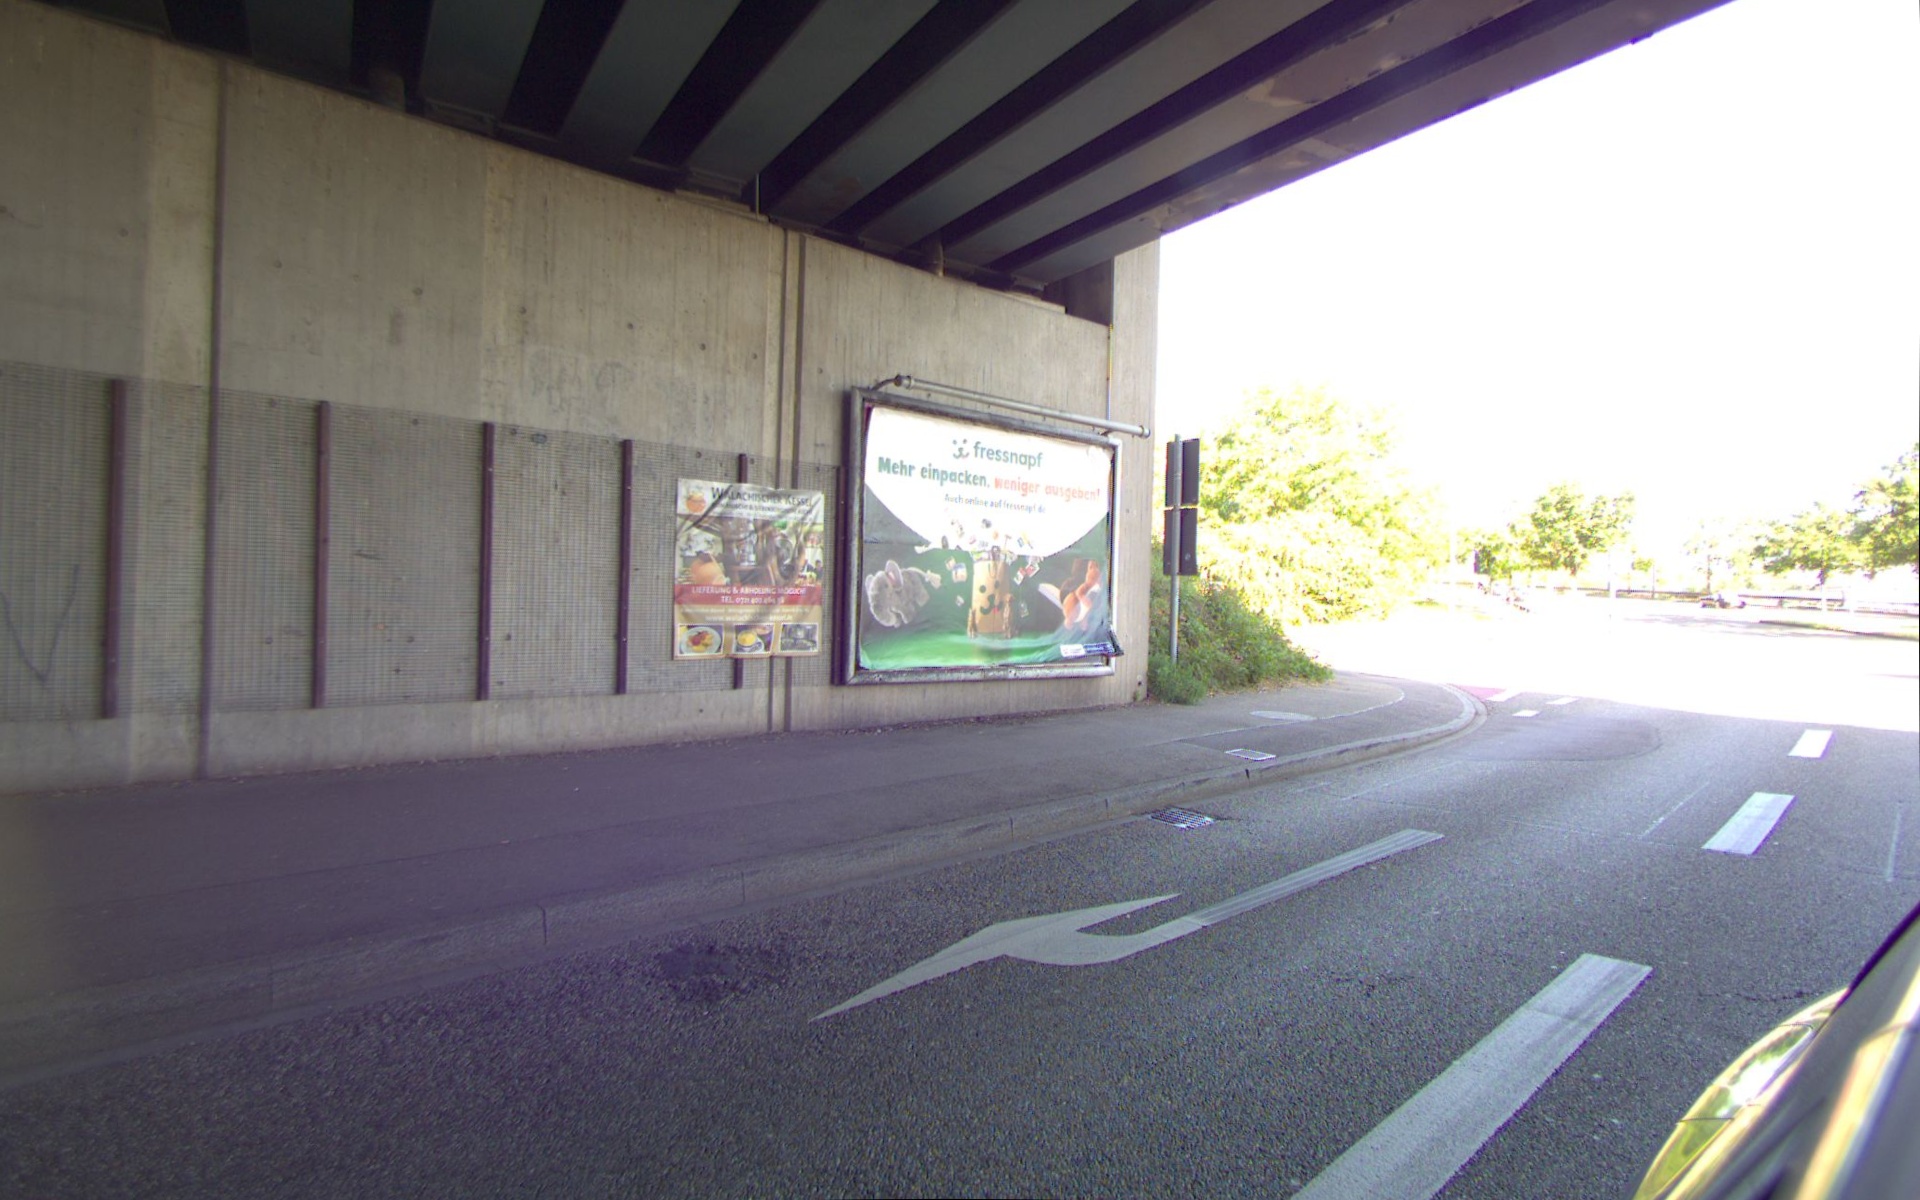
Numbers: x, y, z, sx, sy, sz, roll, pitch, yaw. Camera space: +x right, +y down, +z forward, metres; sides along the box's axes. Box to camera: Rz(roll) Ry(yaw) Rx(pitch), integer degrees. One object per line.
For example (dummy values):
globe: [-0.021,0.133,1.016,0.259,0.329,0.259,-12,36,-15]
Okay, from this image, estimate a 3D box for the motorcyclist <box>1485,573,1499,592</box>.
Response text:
motorcyclist: [66.061,-2.168,125.614,1.089,2.269,1.182,0,0,3]

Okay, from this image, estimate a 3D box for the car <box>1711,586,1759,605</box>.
car: [59.327,-0.374,77.534,1.727,1.297,4.155,3,2,20]

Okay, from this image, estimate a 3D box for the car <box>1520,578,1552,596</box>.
car: [51.768,-1.133,91.035,1.717,1.438,4.290,2,0,20]

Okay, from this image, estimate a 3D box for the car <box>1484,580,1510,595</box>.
car: [58.478,-1.353,110.227,1.715,1.438,4.294,2,0,17]
